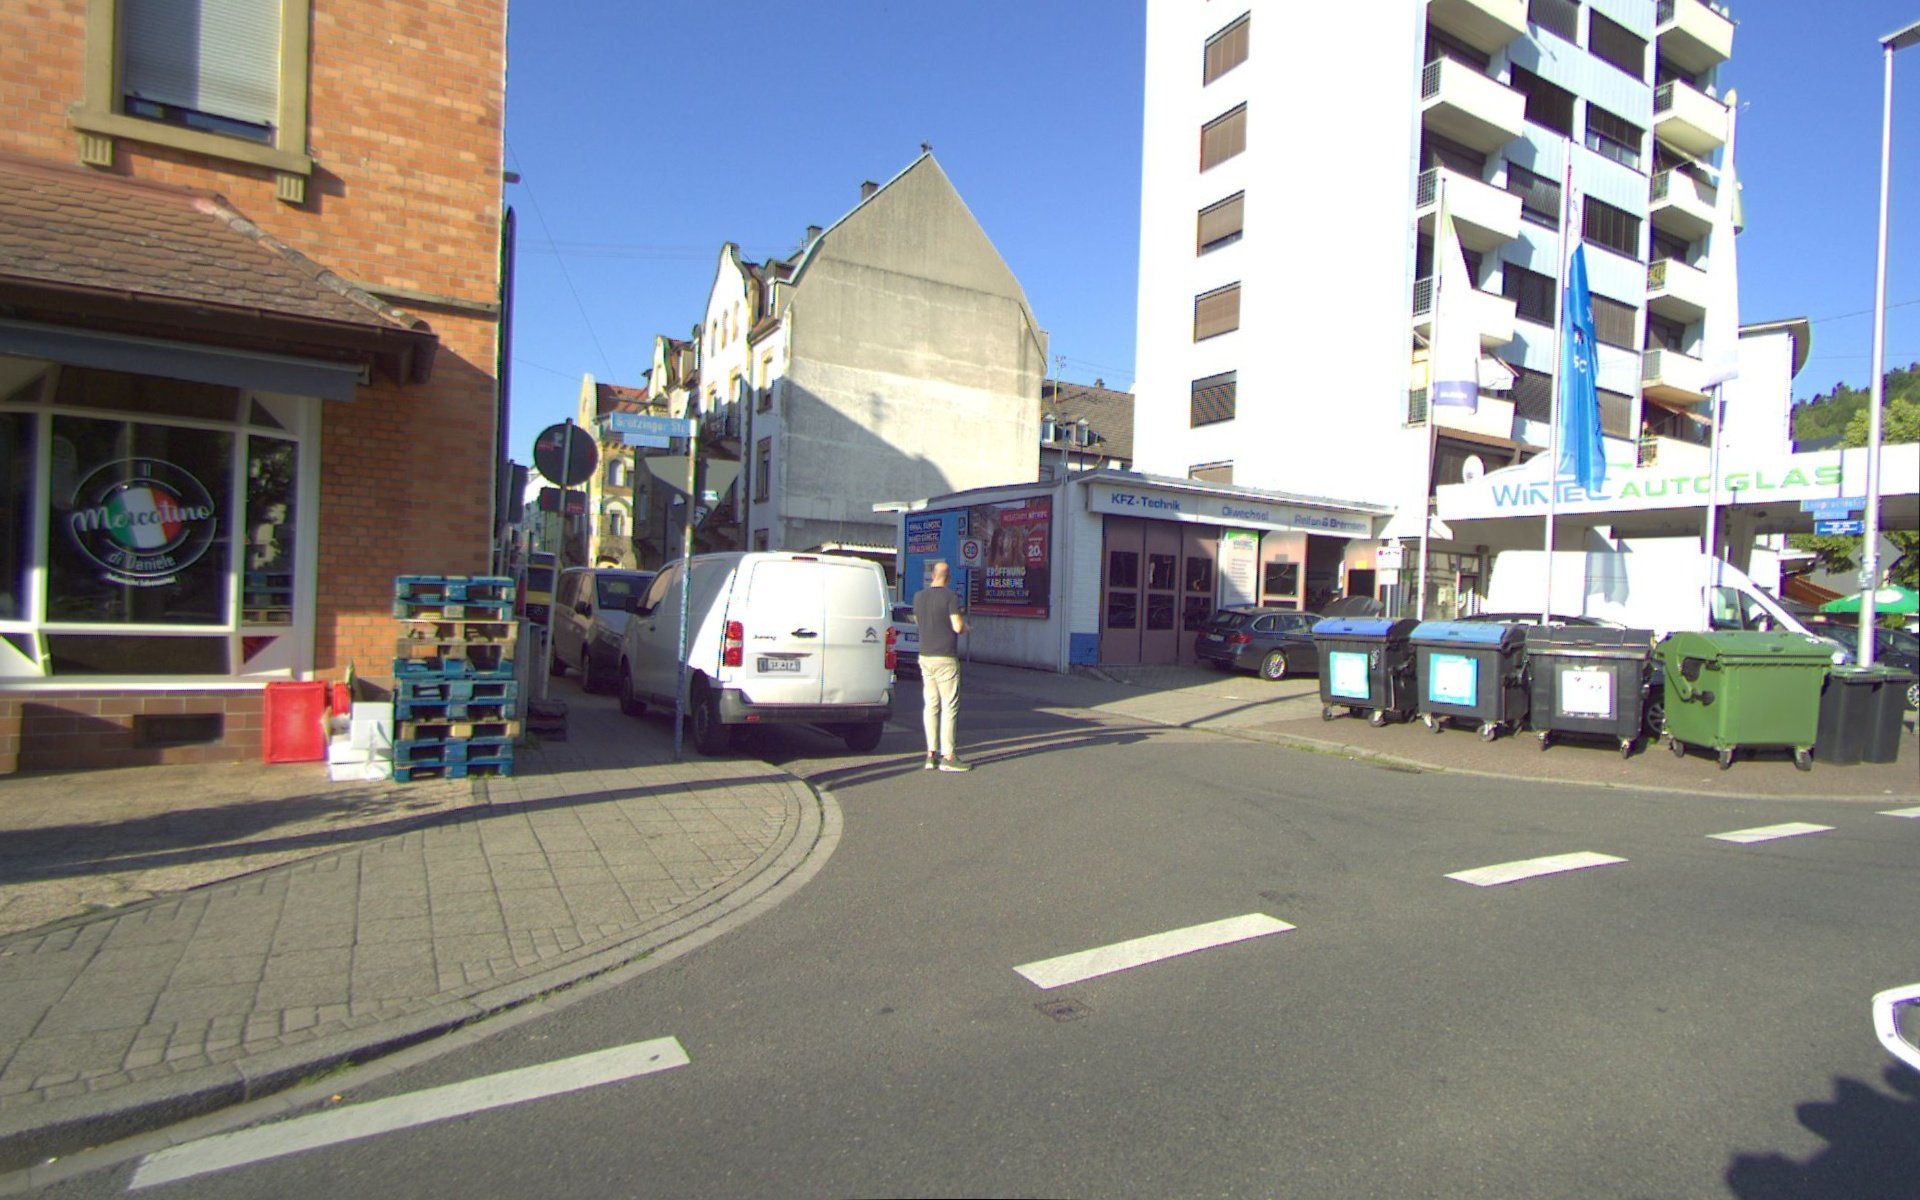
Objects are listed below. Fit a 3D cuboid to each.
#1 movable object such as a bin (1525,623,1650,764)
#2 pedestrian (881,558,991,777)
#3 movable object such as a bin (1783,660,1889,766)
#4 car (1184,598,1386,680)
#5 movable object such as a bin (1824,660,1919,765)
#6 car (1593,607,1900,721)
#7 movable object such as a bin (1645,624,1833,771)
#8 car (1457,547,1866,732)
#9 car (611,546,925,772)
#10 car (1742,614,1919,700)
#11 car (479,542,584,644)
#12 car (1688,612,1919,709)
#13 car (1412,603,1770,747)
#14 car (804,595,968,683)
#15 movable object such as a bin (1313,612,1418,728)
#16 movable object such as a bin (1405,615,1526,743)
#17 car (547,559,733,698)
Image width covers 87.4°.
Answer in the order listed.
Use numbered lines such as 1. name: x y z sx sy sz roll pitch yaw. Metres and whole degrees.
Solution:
1. movable object such as a bin: 7.278 1.048 11.678 1.201 1.503 0.702 0 2 33
2. pedestrian: -0.204 0.587 9.208 0.803 1.892 0.796 1 0 11
3. movable object such as a bin: 9.842 1.252 11.302 0.575 1.077 0.660 0 3 -16
4. car: 7.076 0.814 21.795 4.265 1.589 1.758 1 1 -31
5. movable object such as a bin: 10.432 1.266 11.477 0.570 1.084 0.639 -1 2 -17
6. car: 13.304 1.008 17.345 3.931 1.589 1.768 3 1 32
7. movable object such as a bin: 8.702 1.061 11.284 1.286 1.503 1.058 -1 2 0
8. car: 10.906 0.469 15.959 4.995 2.502 2.099 3 1 40
9. car: -2.373 0.520 11.209 1.977 1.959 4.591 2 0 -30
10. car: 18.273 1.145 20.433 3.324 1.589 1.623 2 0 10
11. car: -13.107 -0.203 30.481 2.114 2.763 6.076 2 0 -30
12. car: 15.800 1.071 18.628 3.325 1.589 1.623 2 0 15
13. car: 8.805 0.925 14.262 1.760 1.589 3.949 1 2 -43
14. car: -1.707 0.791 21.683 1.977 1.544 3.970 7 -2 -28
15. movable object such as a bin: 5.637 0.938 14.002 0.696 1.503 1.171 -2 2 -33
16. movable object such as a bin: 6.472 0.972 12.906 0.696 1.503 1.211 -2 2 -33
17. car: -5.410 0.400 16.495 1.976 1.920 4.938 2 0 -29
